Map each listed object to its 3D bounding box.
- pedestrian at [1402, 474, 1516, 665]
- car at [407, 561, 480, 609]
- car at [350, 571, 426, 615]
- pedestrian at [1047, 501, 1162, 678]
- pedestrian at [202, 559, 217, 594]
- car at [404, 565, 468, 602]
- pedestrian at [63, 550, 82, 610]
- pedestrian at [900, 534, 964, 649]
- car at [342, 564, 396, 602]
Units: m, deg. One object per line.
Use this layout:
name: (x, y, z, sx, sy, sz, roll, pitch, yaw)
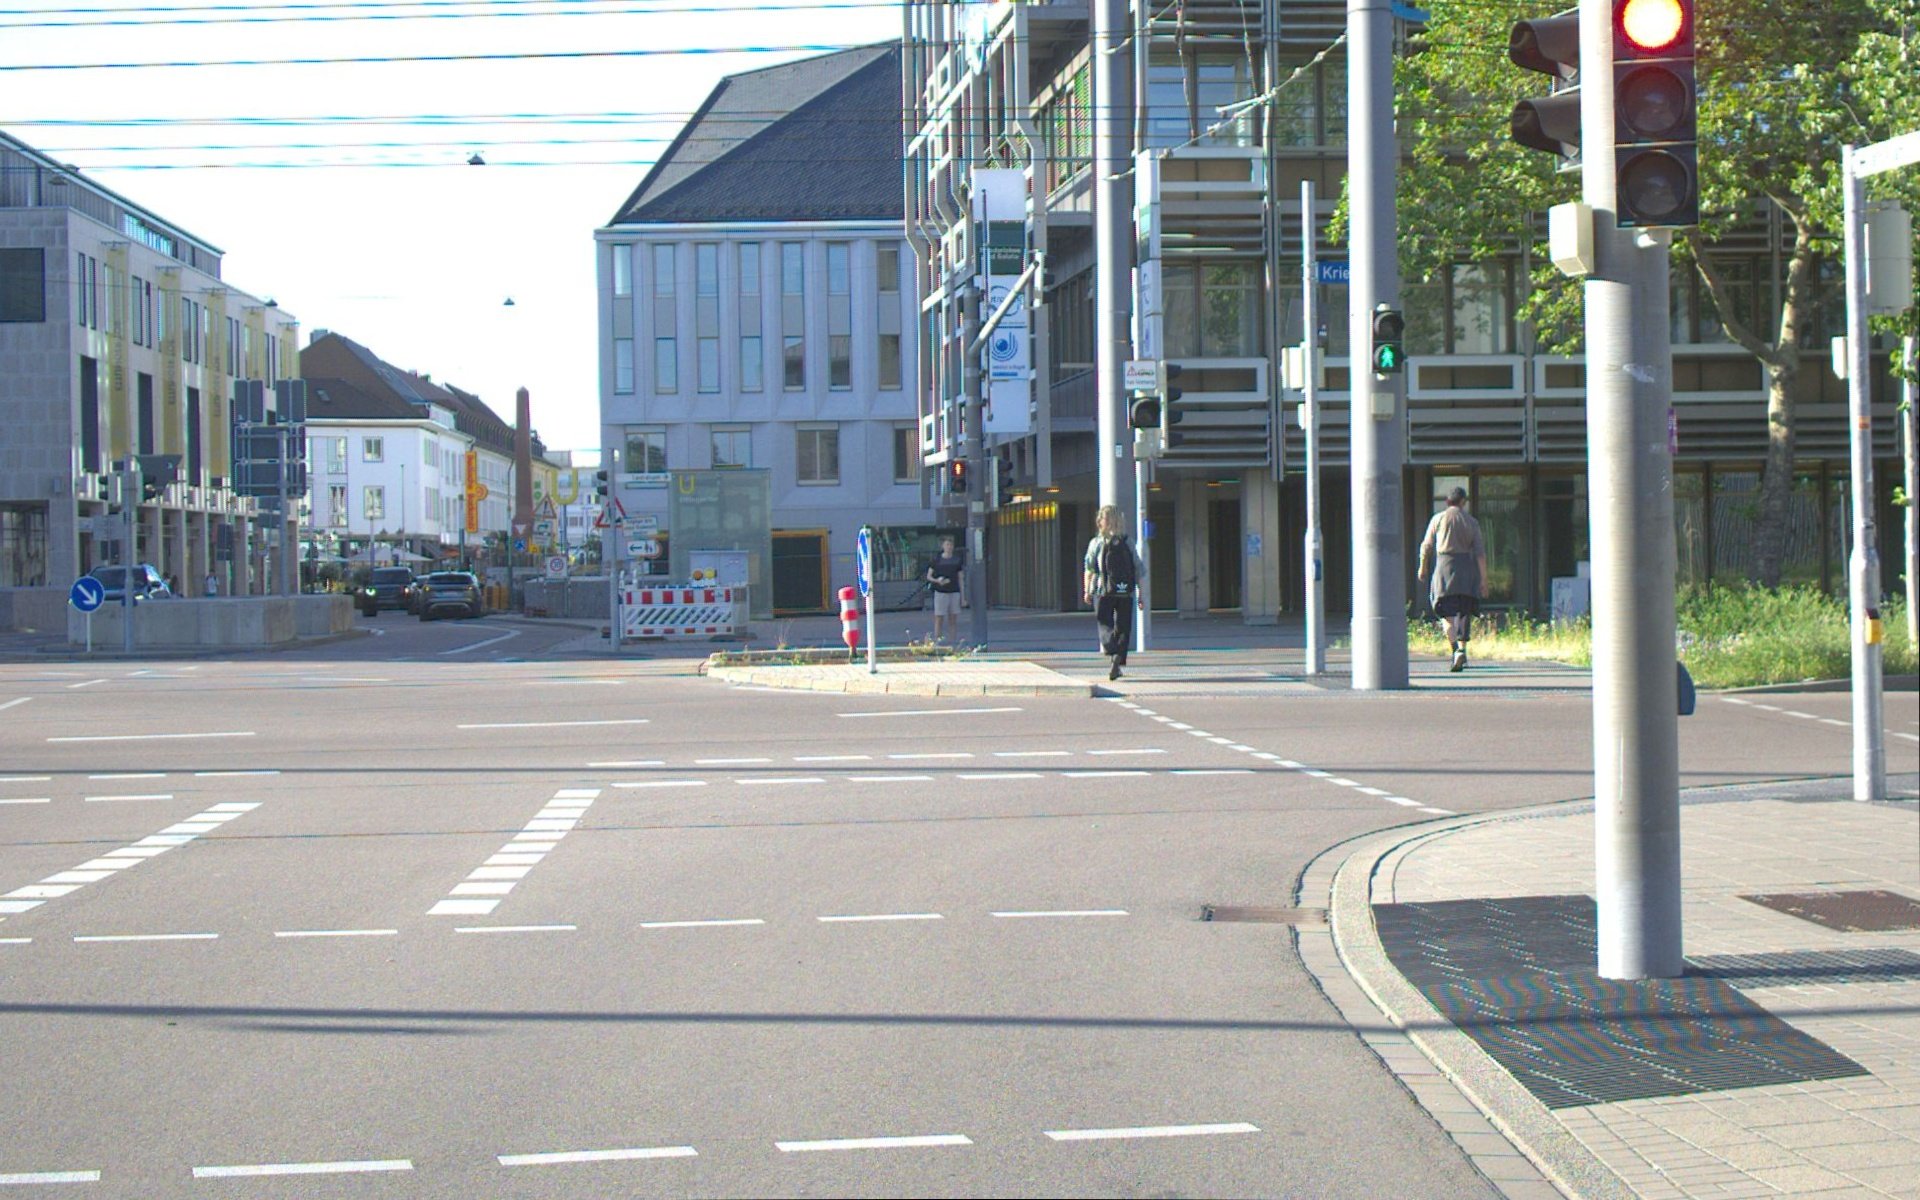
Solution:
pedestrian: (4.629, -0.291, 31.910, 0.855, 1.738, 0.739, -1, 1, -8)
car: (-16.256, -0.466, 108.272, 1.936, 1.445, 4.263, -1, 0, -4)
car: (-22.609, -0.262, 136.097, 2.174, 1.686, 5.487, -1, 0, -1)
pedestrian: (1.299, -0.108, 31.061, 0.895, 1.544, 0.924, -1, 2, -7)
pedestrian: (-28.965, -0.896, 132.652, 0.488, 1.352, 0.564, 1, 0, -6)
car: (-24.375, -0.772, 160.100, 2.174, 1.686, 5.615, -1, 0, 0)
pedestrian: (-30.044, -0.668, 116.355, 0.616, 2.007, 0.478, 1, 0, -15)
pedestrian: (-0.462, -0.151, 57.278, 1.012, 1.904, 1.051, -1, 1, 1)
car: (-29.757, -0.871, 173.212, 2.174, 1.866, 5.616, -1, 0, -4)
